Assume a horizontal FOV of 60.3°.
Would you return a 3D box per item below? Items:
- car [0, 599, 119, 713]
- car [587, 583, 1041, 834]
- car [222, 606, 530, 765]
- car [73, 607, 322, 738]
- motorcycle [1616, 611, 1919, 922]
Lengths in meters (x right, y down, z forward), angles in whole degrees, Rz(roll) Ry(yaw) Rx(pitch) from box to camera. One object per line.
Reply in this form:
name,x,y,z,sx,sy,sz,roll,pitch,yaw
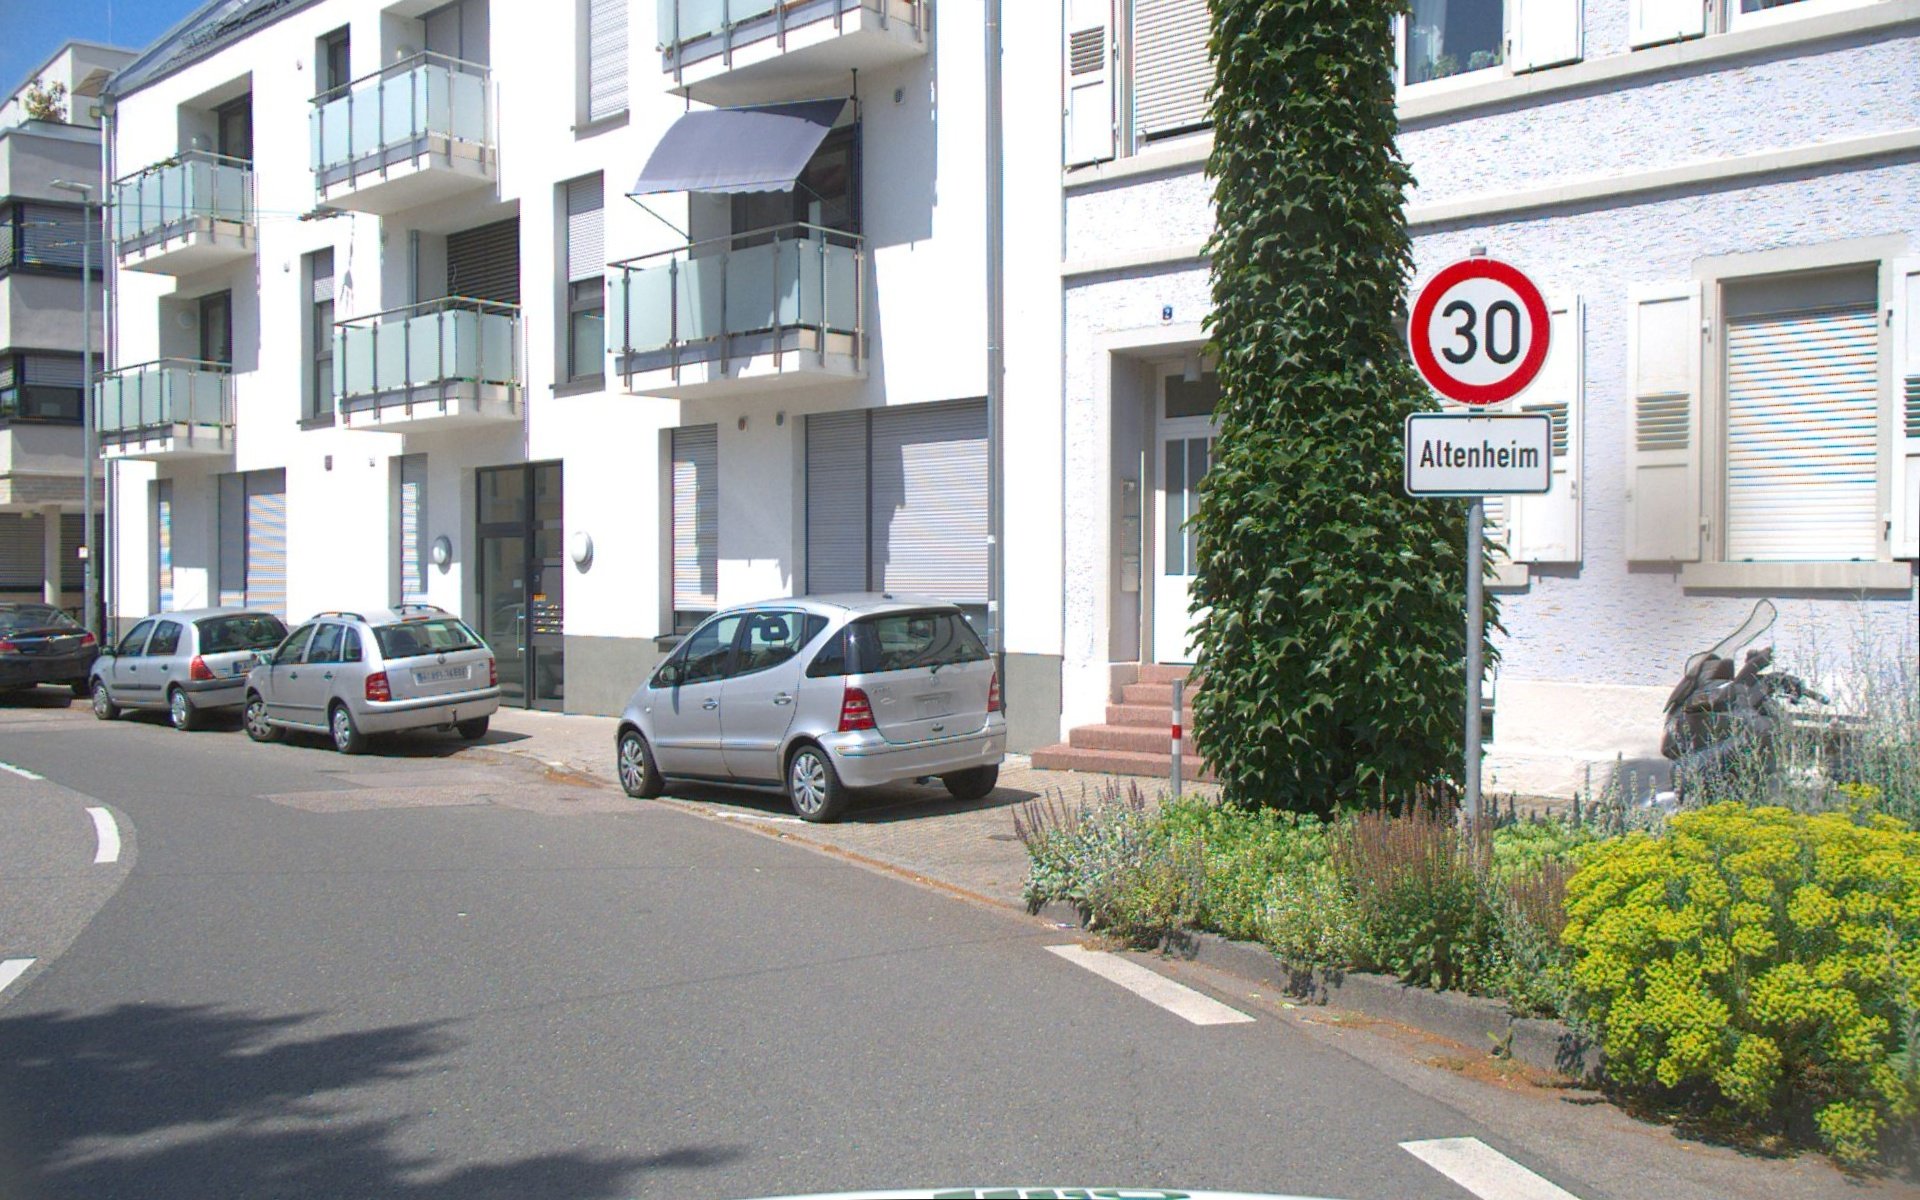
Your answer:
car,-15.161,0.835,26.015,4.463,1.535,1.797,-1,4,40
car,-1.282,0.754,13.236,1.717,1.638,3.743,-4,2,-41
car,-6.648,0.866,18.615,1.720,1.457,3.977,-6,4,-44
car,-10.054,0.882,21.714,3.640,1.457,1.589,-1,4,42
motorcycle,4.426,0.758,7.898,0.796,1.376,2.300,0,0,-44
